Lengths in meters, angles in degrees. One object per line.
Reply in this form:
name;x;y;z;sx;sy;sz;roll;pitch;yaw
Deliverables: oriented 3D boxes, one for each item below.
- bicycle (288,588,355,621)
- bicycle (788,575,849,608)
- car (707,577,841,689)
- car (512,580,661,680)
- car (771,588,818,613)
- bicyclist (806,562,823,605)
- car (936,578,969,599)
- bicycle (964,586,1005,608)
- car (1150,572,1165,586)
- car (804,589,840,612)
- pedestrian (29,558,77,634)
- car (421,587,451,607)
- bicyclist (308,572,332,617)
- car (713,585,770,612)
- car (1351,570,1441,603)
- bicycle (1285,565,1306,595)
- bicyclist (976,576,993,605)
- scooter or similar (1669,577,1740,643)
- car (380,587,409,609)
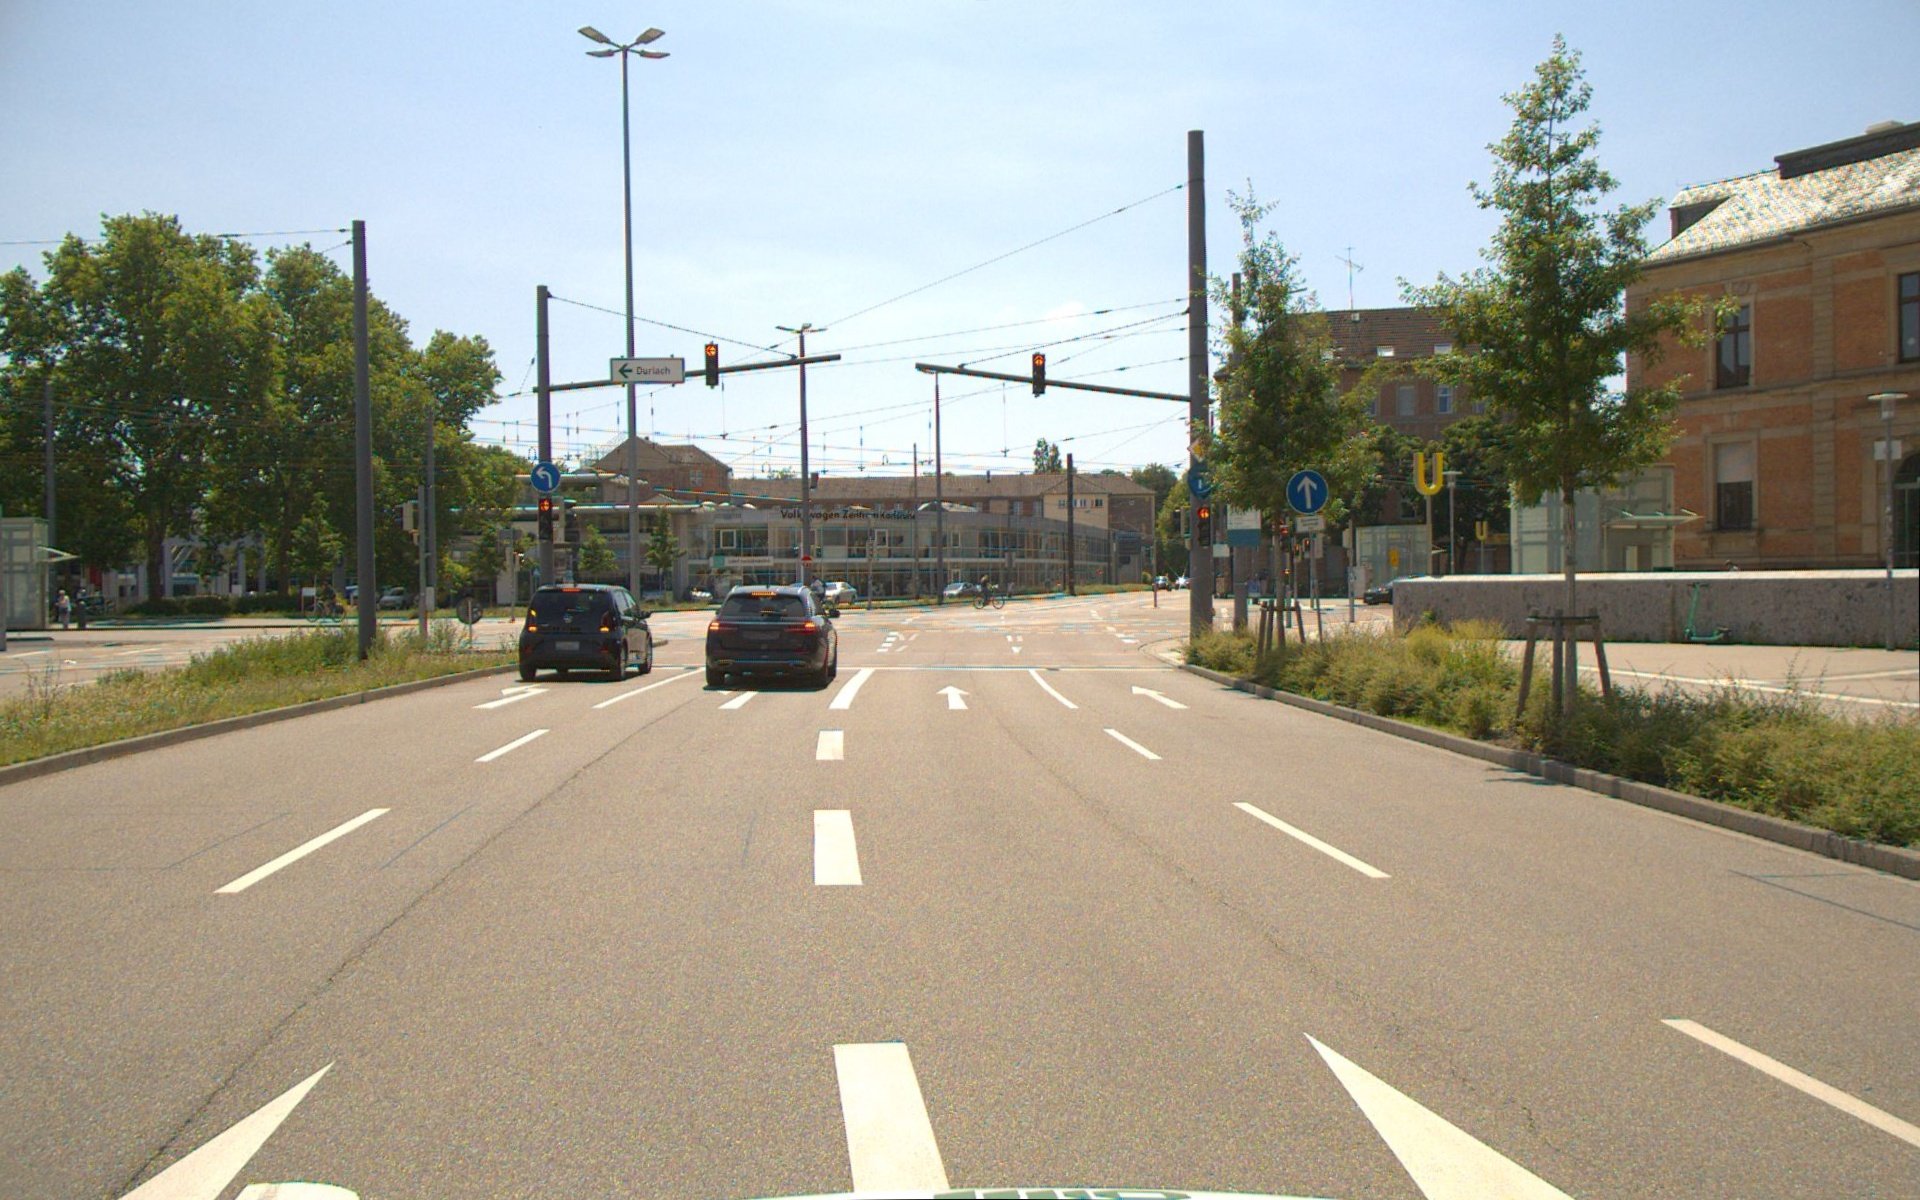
bicycle;-28.819;0.202;74.675;2.723;1.409;0.669;0;2;-9
bicycle;-6.461;-0.373;75.819;2.769;1.488;0.633;0;2;-3
car;-2.832;0.461;26.033;1.682;1.584;4.585;-1;0;-1
car;-6.006;0.438;26.981;1.588;1.489;3.999;0;0;-1
car;-9.646;0.009;96.601;1.505;1.300;3.542;1;3;16
bicyclist;-6.648;-0.753;75.775;0.748;1.971;0.660;0;2;-3
car;-0.524;-0.870;124.310;1.537;1.452;3.616;1;3;16
bicycle;1.295;-0.160;86.153;2.128;1.126;0.454;-1;2;-19
car;21.625;-2.289;180.881;1.498;1.484;3.555;0;2;5
car;-8.496;0.019;102.209;1.401;1.307;3.265;1;3;11
pedestrian;-36.577;-0.177;66.733;1.190;2.989;1.335;0;2;-5
car;-39.926;-0.236;126.062;1.481;1.443;3.417;0;2;-7
bicyclist;-28.885;-0.269;74.652;0.830;1.999;0.625;0;2;-9
car;-11.882;-0.109;90.190;1.585;1.414;4.127;-1;1;16
car;21.361;-0.679;80.968;4.041;1.476;1.688;-1;3;-21
bicycle;21.493;-1.281;106.025;0.599;1.819;3.181;0;2;-1
bicyclist;1.285;-0.493;86.140;0.721;1.505;0.652;-1;2;-20
scooter or similar;14.062;0.182;31.270;0.391;1.187;1.281;-1;3;-23
car;-43.184;-0.168;126.424;1.397;1.534;3.434;0;2;-7
